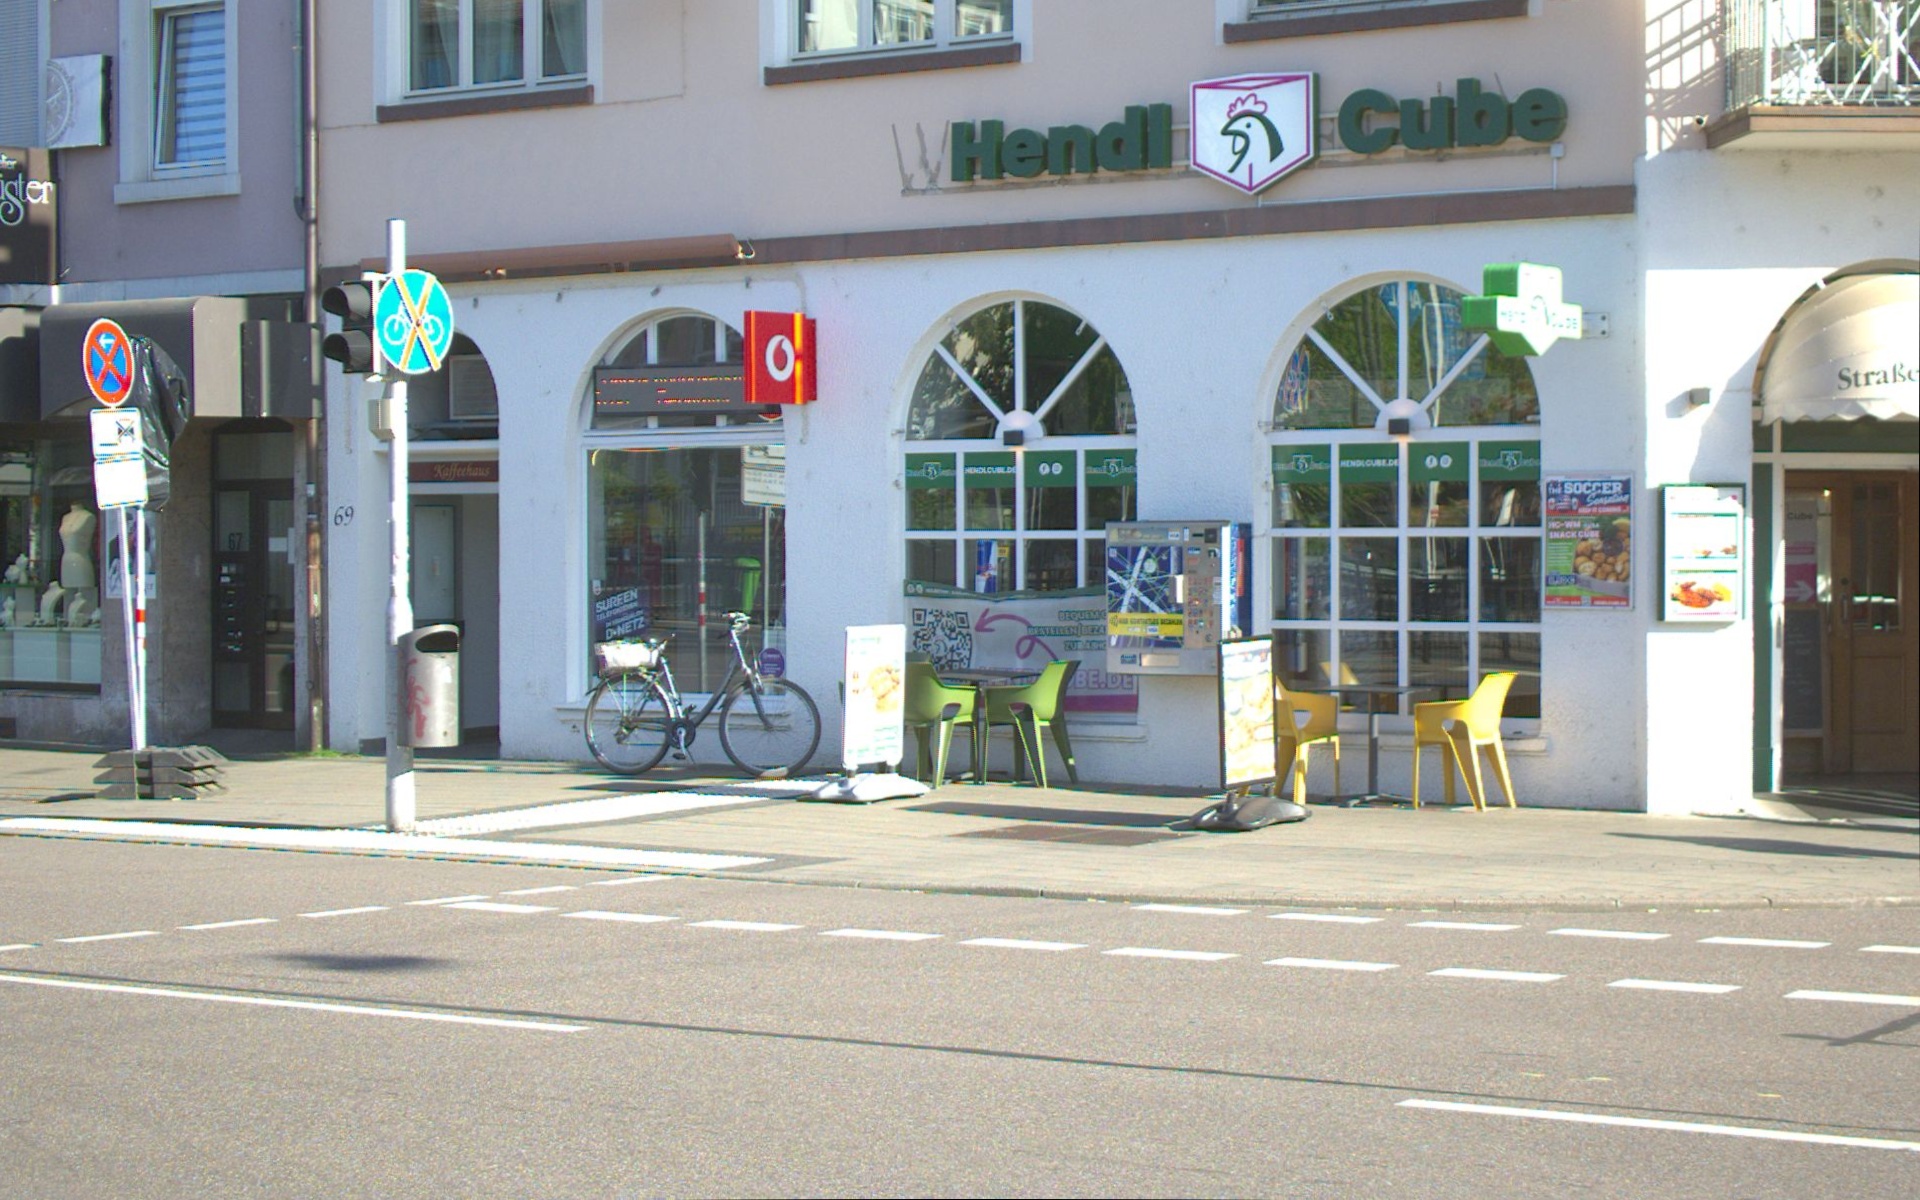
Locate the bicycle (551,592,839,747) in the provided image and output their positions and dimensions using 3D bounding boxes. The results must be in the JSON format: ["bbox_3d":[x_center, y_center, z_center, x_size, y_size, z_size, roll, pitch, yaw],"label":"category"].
[{"bbox_3d":[-1.869,0.489,24.356,1.943,1.063,0.583,0,1,8],"label":"bicycle"}]
